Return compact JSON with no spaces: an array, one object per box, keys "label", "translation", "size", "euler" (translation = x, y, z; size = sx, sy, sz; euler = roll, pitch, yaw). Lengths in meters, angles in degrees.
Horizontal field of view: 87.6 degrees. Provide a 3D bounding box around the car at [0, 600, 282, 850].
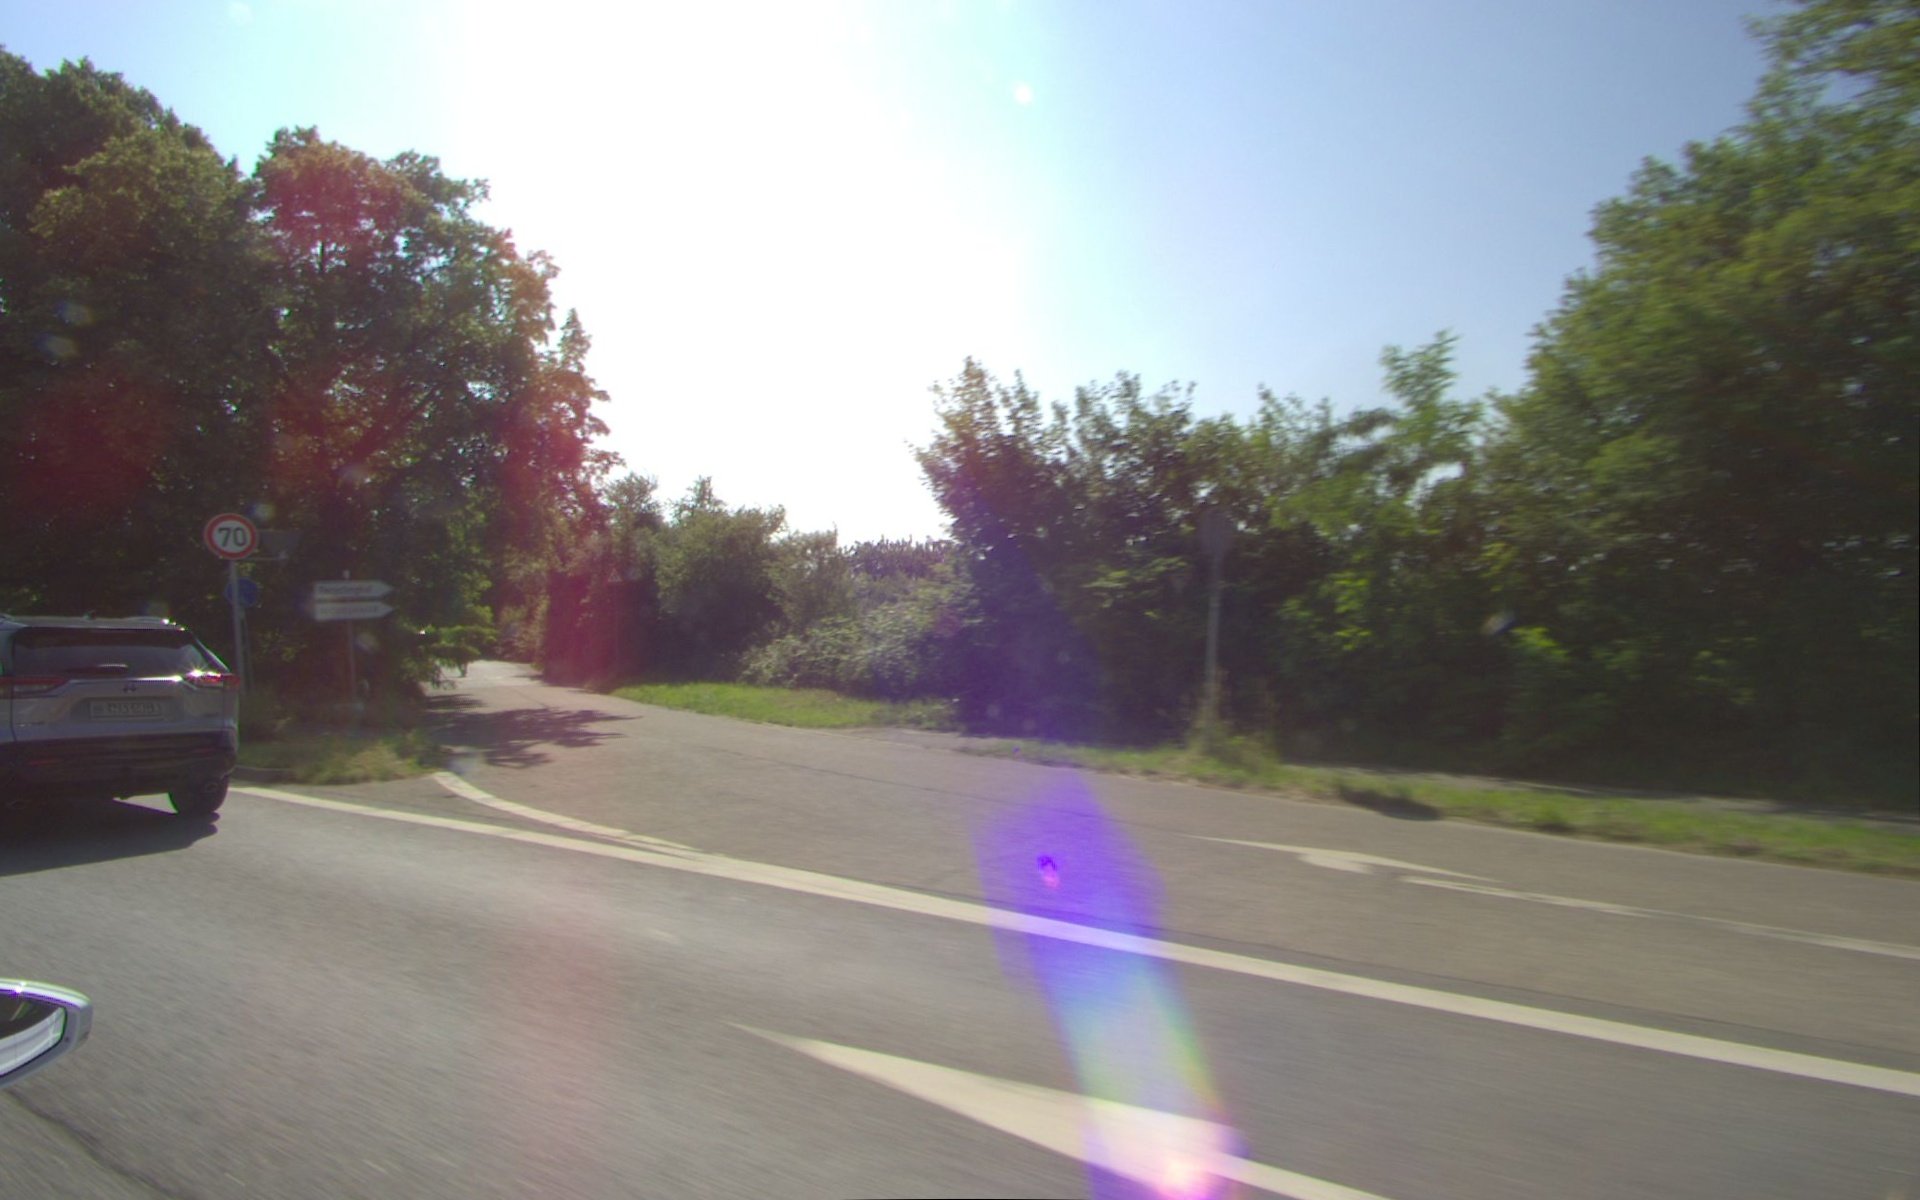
[{"label":"car","translation":[-8.081,0.937,8.722],"size":[4.617,1.701,1.899],"euler":[-1,-3,32]}]
